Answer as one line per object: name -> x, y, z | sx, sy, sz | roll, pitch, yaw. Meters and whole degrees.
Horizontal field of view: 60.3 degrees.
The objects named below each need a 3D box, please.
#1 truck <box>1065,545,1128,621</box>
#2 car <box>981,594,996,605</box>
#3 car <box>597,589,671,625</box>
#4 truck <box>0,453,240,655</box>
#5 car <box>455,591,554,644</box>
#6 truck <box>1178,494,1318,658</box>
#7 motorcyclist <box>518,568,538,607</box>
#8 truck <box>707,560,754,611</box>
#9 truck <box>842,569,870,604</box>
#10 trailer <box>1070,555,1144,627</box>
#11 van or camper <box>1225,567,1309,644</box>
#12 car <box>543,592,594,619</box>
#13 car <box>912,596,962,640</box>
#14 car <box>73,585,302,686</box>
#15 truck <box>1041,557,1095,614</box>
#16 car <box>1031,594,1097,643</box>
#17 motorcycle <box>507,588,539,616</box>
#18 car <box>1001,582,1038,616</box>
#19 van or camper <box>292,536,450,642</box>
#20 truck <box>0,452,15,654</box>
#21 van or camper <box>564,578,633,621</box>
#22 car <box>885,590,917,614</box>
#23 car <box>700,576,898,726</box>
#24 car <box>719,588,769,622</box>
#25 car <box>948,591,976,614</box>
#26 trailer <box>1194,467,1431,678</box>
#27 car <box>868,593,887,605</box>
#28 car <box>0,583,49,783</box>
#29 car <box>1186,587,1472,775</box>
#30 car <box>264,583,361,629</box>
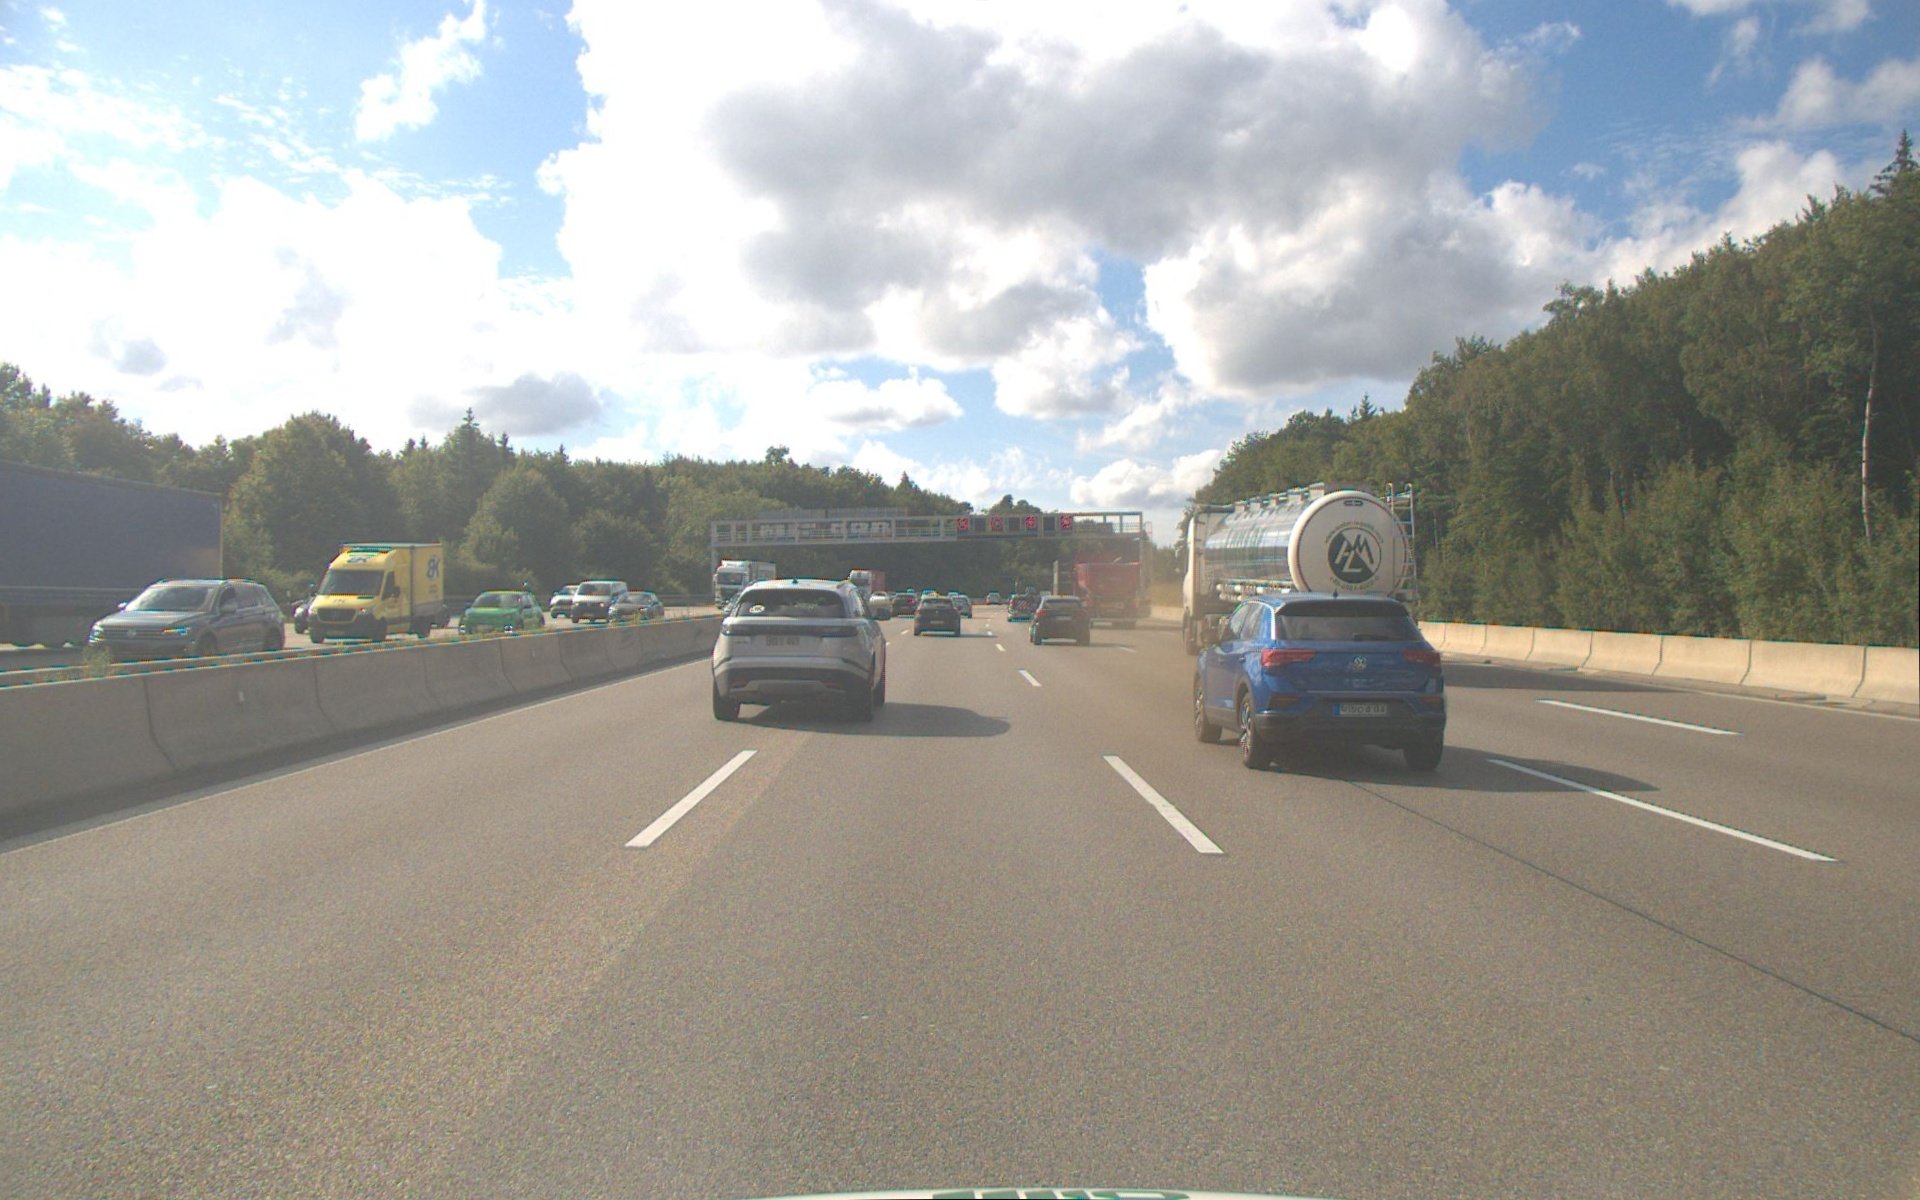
truck -> 7.041, -0.898, 86.023 | 2.655, 3.783, 5.817 | 1, 1, -1
car -> 4.013, -0.110, 232.911 | 2.033, 1.483, 4.001 | -1, 0, 2
car -> -13.895, 0.283, 70.756 | 2.126, 1.496, 4.786 | 0, 0, 1
truck -> -21.271, -0.986, 38.989 | 2.762, 4.166, 13.842 | 0, 0, -1
car -> -13.614, 0.481, 49.678 | 1.747, 1.496, 4.330 | -1, 0, 0
truck -> 7.255, -0.590, 42.375 | 2.594, 3.890, 6.082 | 0, 0, 1
motorcyclist -> -16.744, -0.481, 64.125 | 0.590, 1.502, 0.532 | 1, -1, 1
truck -> -19.335, -1.206, 139.556 | 3.250, 4.178, 6.223 | 0, 0, -1
truck -> -12.480, -1.610, 199.393 | 2.682, 4.178, 5.767 | 0, 0, 3
trailer -> 7.107, -0.459, 81.266 | 2.655, 3.287, 9.731 | 1, 1, -1
van or camper -> 9.800, 0.162, 53.117 | 1.785, 2.348, 4.939 | 0, 0, 0
car -> -21.174, 0.274, 89.554 | 1.786, 1.419, 4.277 | 0, 0, -1
car -> -0.852, 0.632, 61.696 | 1.785, 1.573, 3.999 | 0, 0, -1
car -> -13.692, 0.567, 29.687 | 1.806, 1.624, 4.913 | -1, 0, 0
truck -> 7.895, -1.054, 121.966 | 3.055, 4.003, 10.408 | 0, 0, -1
car -> 3.275, 0.565, 52.563 | 1.785, 1.483, 3.999 | 0, 0, -1
motorcycle -> -16.760, 0.079, 63.463 | 0.597, 1.058, 2.175 | 0, 0, 1
car -> 3.484, -0.057, 96.887 | 1.855, 1.889, 4.099 | 1, 0, -2
van or camper -> -17.372, -0.313, 49.225 | 2.325, 2.942, 6.506 | 0, 0, 0
truck -> -21.127, -0.963, 31.544 | 2.762, 4.166, 6.060 | 0, 0, -1
van or camper -> -17.242, -0.016, 79.083 | 1.952, 1.971, 5.459 | 0, 0, 2
car -> -3.887, 0.121, 109.683 | 1.902, 1.483, 4.000 | -1, 0, 0
car -> -1.895, 0.553, 21.131 | 1.965, 1.644, 5.301 | 1, 0, 0
car -> -10.236, 0.224, 78.674 | 1.825, 1.579, 4.661 | 0, 0, -1
car -> 0.132, 0.195, 110.605 | 1.785, 1.483, 4.000 | 1, 0, 1
trailer -> 7.242, -0.534, 35.969 | 2.595, 3.833, 11.859 | 0, 0, 0
car -> -9.351, -0.114, 187.742 | 1.773, 1.325, 4.047 | 0, 0, 1
car -> -10.252, 0.825, 13.998 | 2.127, 1.911, 5.361 | -1, 0, -1
car -> 3.394, 0.669, 16.062 | 1.737, 1.557, 4.457 | 0, 0, -1
car -> -21.745, 0.180, 55.678 | 1.662, 1.496, 4.022 | 0, 0, 0
